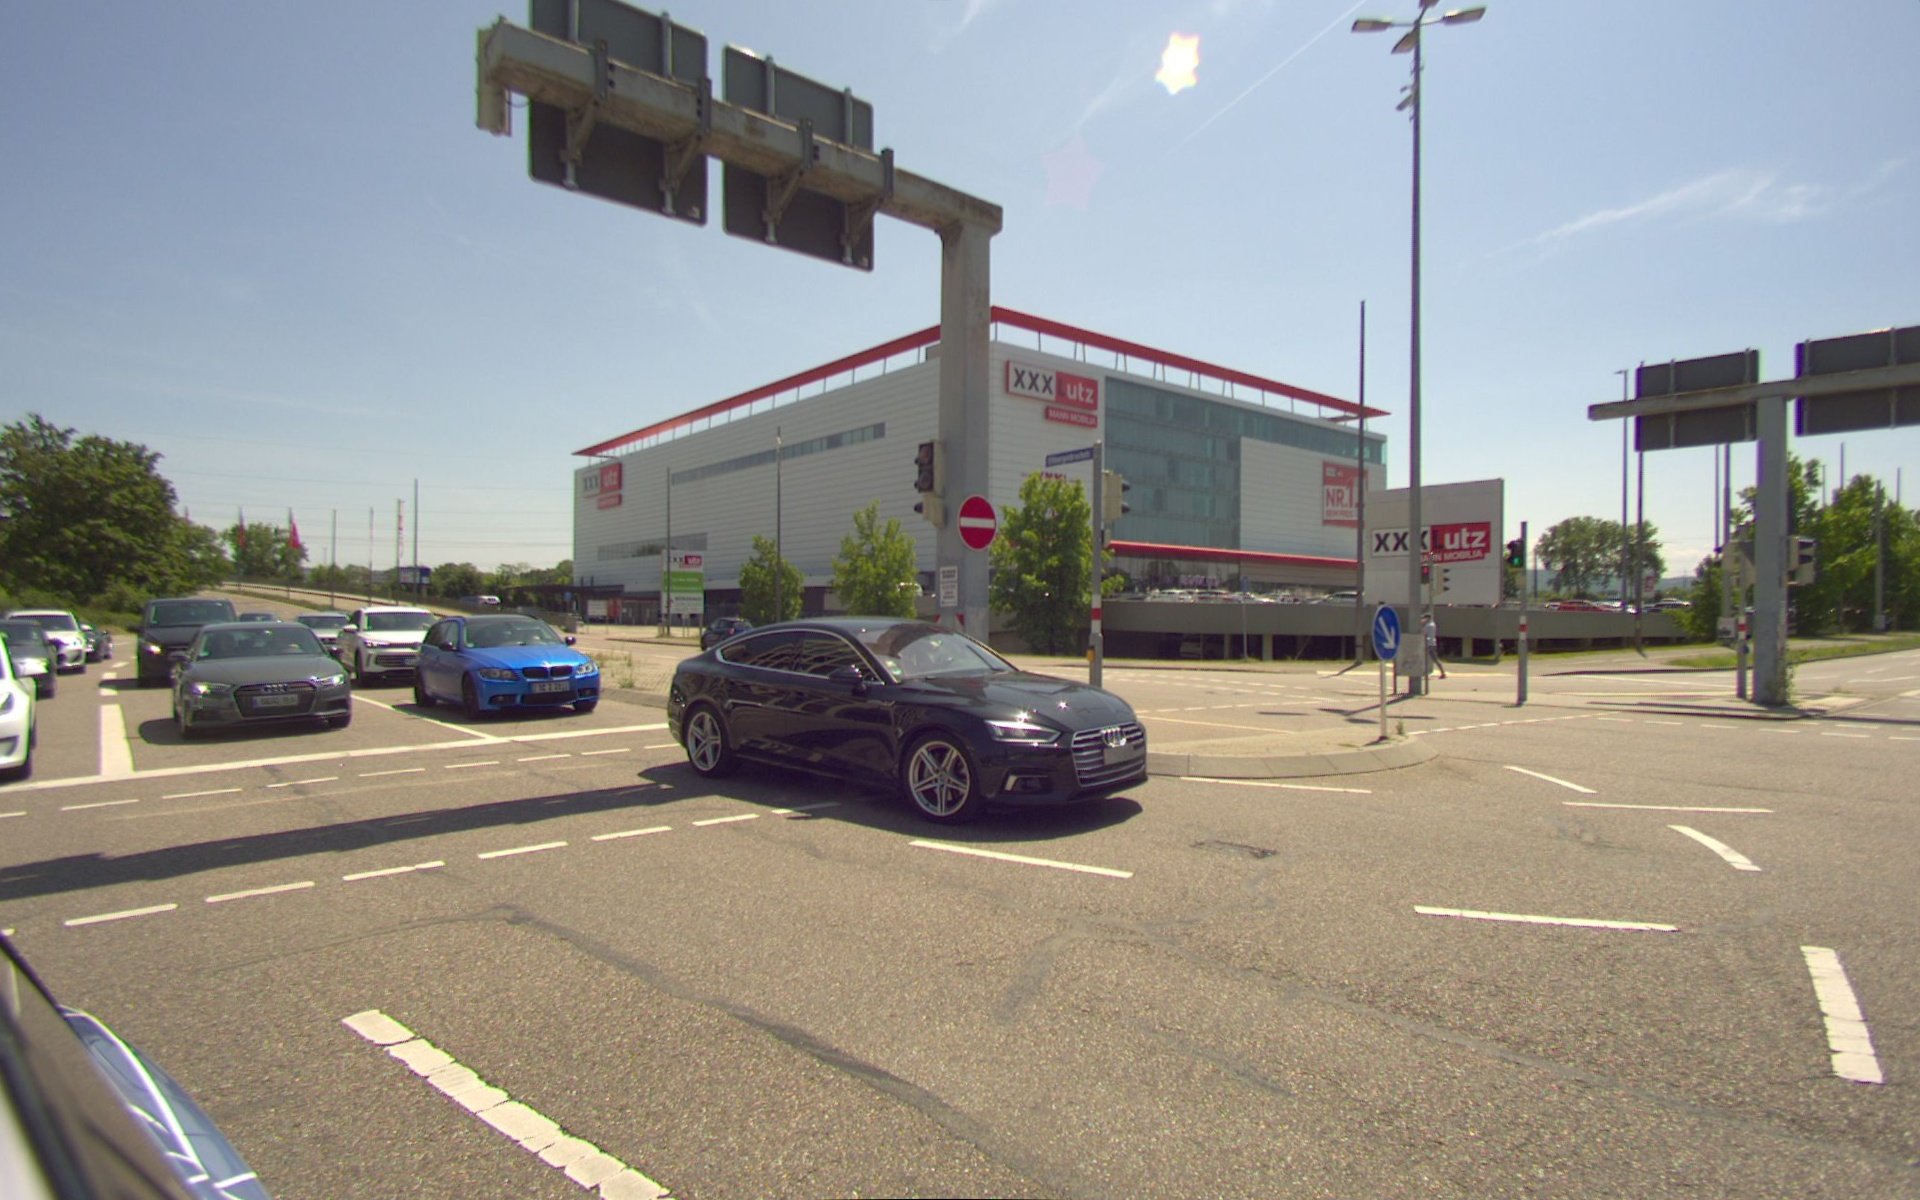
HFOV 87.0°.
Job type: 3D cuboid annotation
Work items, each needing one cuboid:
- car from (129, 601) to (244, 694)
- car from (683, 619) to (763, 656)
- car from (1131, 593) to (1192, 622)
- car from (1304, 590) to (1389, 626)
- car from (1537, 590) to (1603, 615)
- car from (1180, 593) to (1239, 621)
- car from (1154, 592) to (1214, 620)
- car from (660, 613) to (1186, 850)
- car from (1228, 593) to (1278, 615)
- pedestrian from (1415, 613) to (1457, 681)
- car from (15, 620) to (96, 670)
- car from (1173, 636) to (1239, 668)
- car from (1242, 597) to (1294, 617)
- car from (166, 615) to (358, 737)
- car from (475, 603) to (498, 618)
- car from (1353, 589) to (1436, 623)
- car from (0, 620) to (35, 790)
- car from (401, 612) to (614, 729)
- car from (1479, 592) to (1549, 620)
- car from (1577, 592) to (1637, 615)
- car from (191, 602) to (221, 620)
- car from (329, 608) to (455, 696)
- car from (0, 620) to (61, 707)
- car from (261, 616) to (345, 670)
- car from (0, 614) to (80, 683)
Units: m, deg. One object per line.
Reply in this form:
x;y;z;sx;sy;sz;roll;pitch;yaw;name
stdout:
-17.201;0.959;22.580;1.866;1.835;4.847;-1;0;-37;car
-10.914;1.672;46.508;1.969;1.608;4.006;1;-1;-41;car
14.675;0.572;73.860;1.756;2.029;4.240;1;-1;-41;car
22.832;0.485;59.857;1.971;2.029;4.332;1;-1;-45;car
51.018;0.209;84.684;1.969;2.029;4.336;1;-1;-41;car
18.804;0.541;76.387;1.756;2.029;4.141;1;-1;-41;car
16.596;0.478;75.063;1.756;2.029;4.141;1;-1;-41;car
-0.549;0.828;8.222;4.468;1.415;1.653;-1;-2;44;car
25.427;0.353;87.824;1.756;1.801;3.845;1;-1;-41;car
12.812;1.251;27.228;0.595;1.797;0.828;1;-1;-38;pedestrian
-28.072;1.344;31.498;1.743;1.413;3.958;0;0;-40;car
14.531;3.052;59.750;3.941;1.719;2.001;1;-1;-45;car
27.195;0.618;89.548;1.756;1.694;4.141;1;-1;-41;car
-9.529;0.902;13.686;1.743;1.393;4.096;1;-1;-40;car
-72.755;1.675;155.466;2.159;2.300;4.822;1;-1;-38;car
27.159;0.398;63.337;4.332;2.029;1.971;0;-1;45;car
-10.266;0.954;9.821;1.796;1.447;4.290;-1;0;-41;car
-6.962;0.937;15.300;1.743;1.413;4.438;-1;1;-41;car
42.499;0.479;77.677;1.969;2.029;4.336;1;-1;-41;car
56.361;0.316;88.179;1.969;2.029;4.006;1;-1;-41;car
-86.834;1.316;116.580;3.987;2.029;1.889;-1;-1;40;car
-12.308;1.030;21.795;1.742;1.653;4.501;-1;0;-37;car
-18.374;1.151;19.308;1.532;1.548;3.829;1;-1;-38;car
-19.242;1.223;29.770;1.740;1.433;3.911;-1;-1;-29;car
-24.033;1.193;26.264;1.752;1.621;3.826;1;-1;-41;car
